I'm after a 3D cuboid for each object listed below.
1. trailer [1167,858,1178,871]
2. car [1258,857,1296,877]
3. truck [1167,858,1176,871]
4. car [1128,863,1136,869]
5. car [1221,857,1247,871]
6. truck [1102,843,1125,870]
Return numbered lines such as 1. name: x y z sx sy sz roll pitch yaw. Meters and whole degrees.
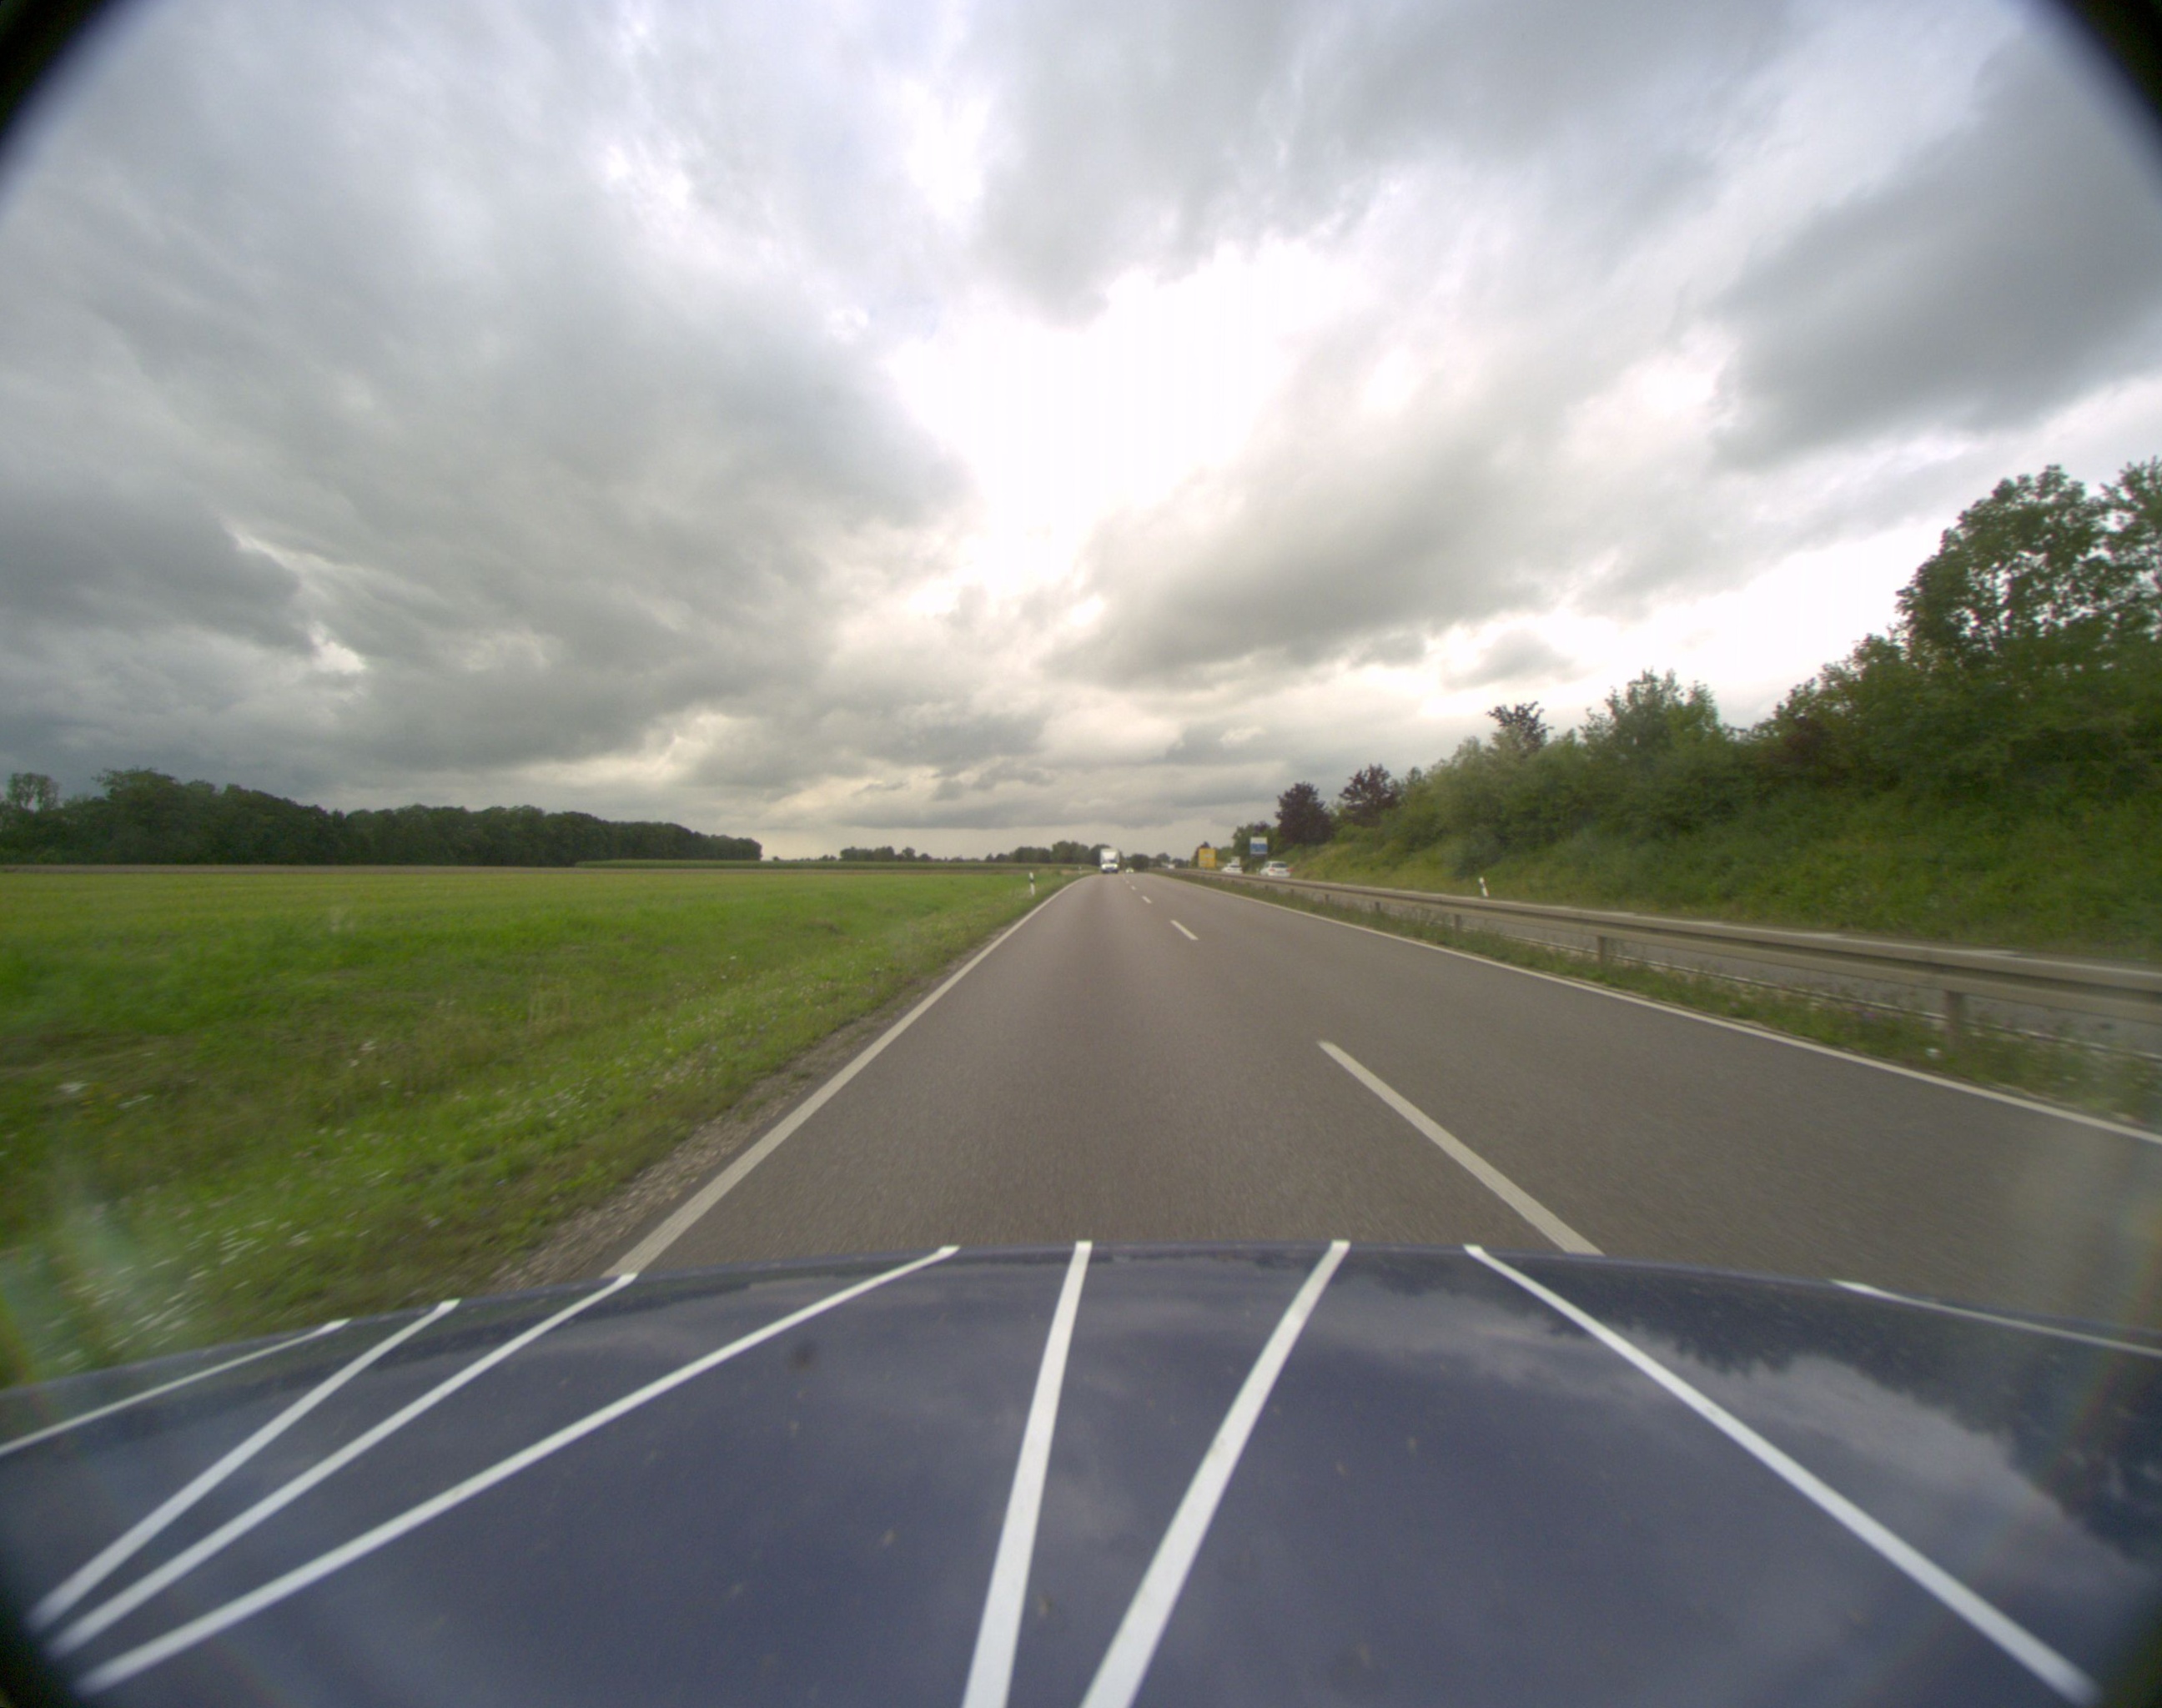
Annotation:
1. trailer: 28.271 3.250 235.228 2.781 3.923 12.994 0 -2 5
2. car: 15.361 1.081 59.827 1.925 1.508 4.465 0 -2 1
3. truck: 28.898 3.460 242.889 2.809 3.972 5.290 0 -2 5
4. car: 13.805 3.191 205.515 2.090 1.509 4.196 0 -2 6
5. car: 16.598 1.105 82.666 1.998 1.508 4.990 0 -2 2
6. truck: 4.744 0.390 110.183 2.933 3.651 8.449 0 -2 5
